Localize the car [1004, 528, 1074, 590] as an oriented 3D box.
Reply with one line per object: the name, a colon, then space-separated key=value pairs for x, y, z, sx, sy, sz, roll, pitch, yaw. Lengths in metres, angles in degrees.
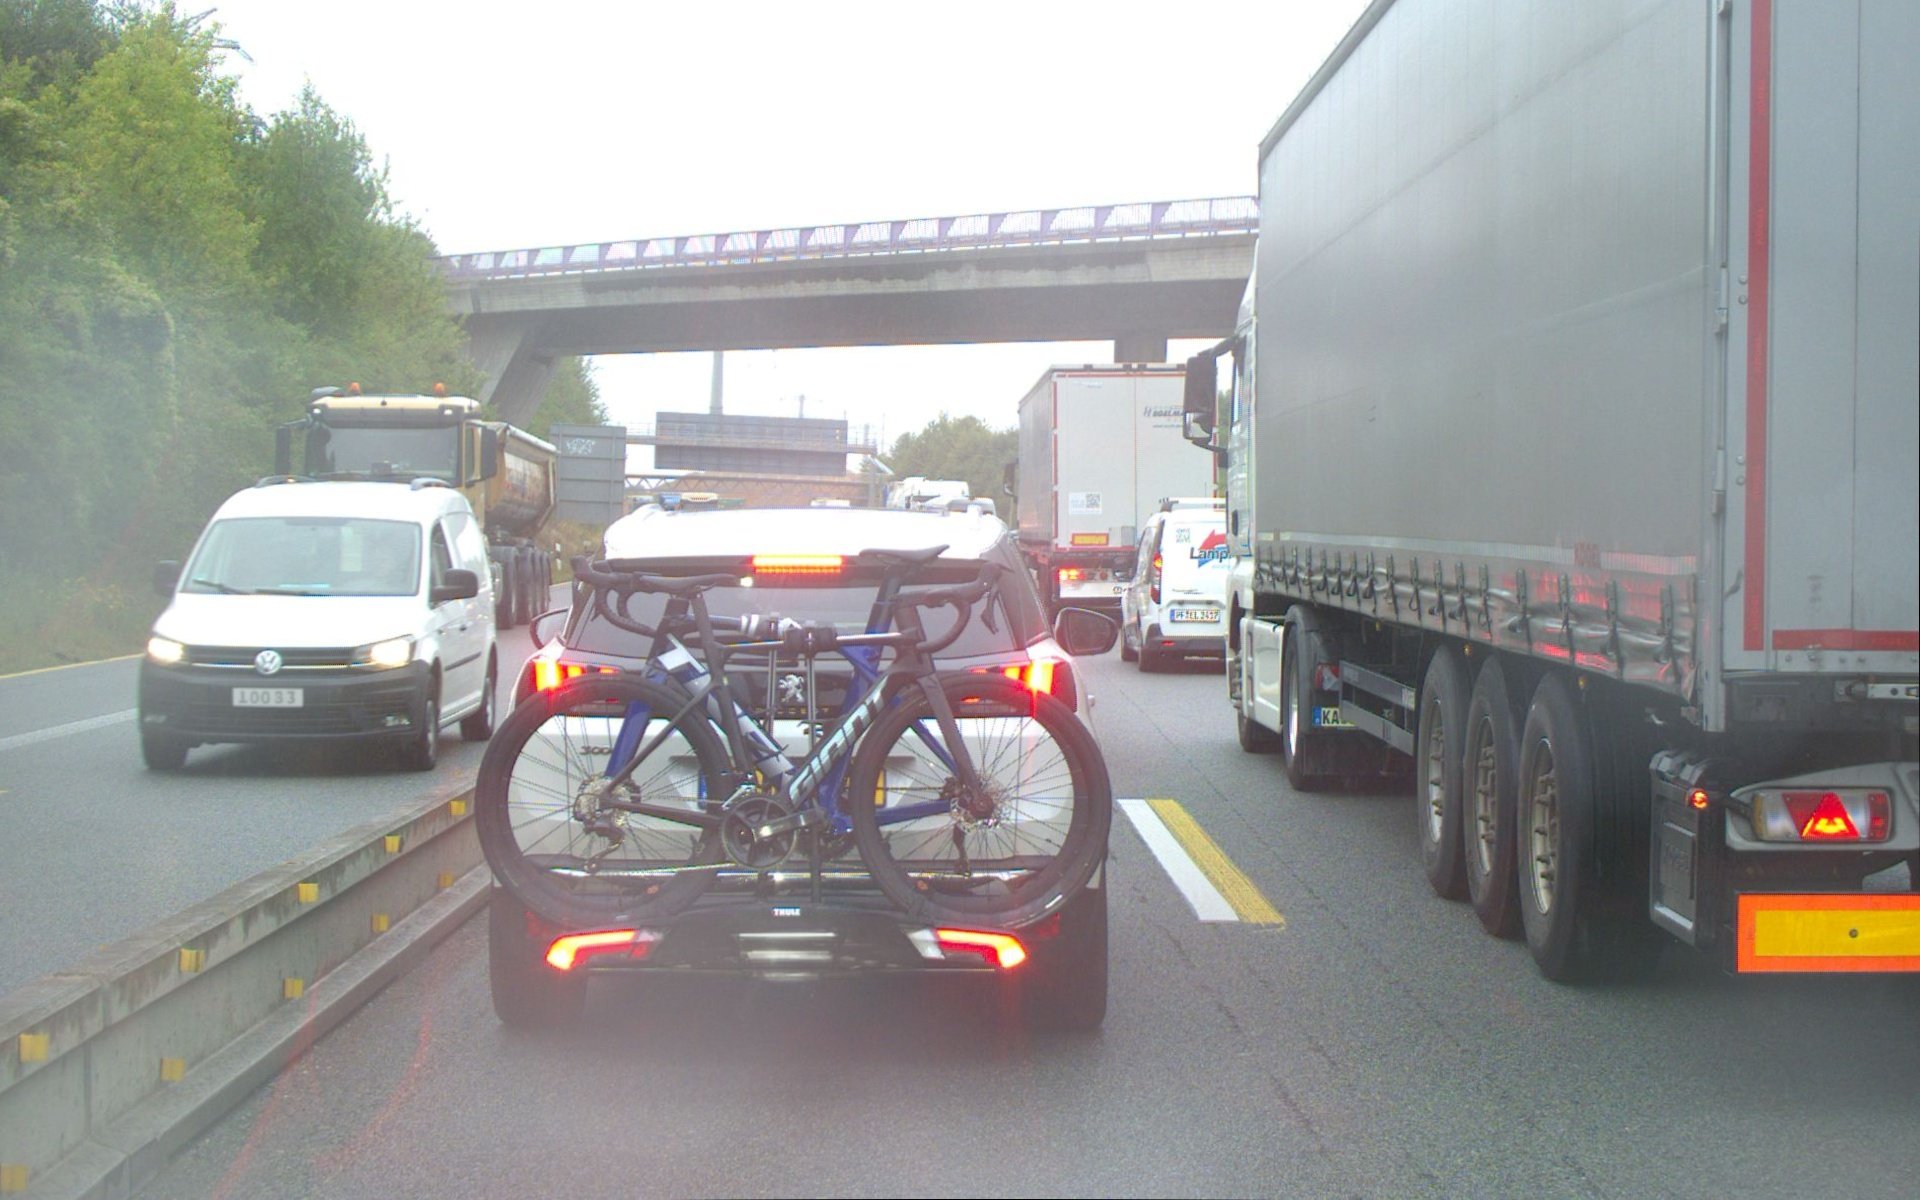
car: x=1.942 y=-1.025 z=85.059 sx=1.638 sy=1.492 sz=3.666 roll=1 pitch=1 yaw=0

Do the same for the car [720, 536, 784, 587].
car: x=-6.546 y=-1.211 z=108.376 sx=1.810 sy=1.554 sz=3.990 roll=1 pitch=1 yaw=-1

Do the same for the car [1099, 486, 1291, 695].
car: x=2.549 y=-0.131 z=38.175 sx=1.670 sy=2.173 sz=4.535 roll=1 pitch=1 yaw=-2

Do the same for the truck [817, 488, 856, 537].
truck: x=-8.792 y=-6.224 z=245.507 sx=2.535 sy=3.341 sz=12.051 roll=1 pitch=1 yaw=-1

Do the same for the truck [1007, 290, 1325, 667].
truck: x=3.321 y=-1.985 z=62.325 sx=4.743 sy=5.654 sz=20.376 roll=1 pitch=1 yaw=1

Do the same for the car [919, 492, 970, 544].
car: x=-0.598 y=-3.244 z=136.783 sx=1.993 sy=2.007 sz=4.000 roll=1 pitch=1 yaw=0

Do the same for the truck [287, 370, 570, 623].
truck: x=-7.745 y=-1.461 z=51.718 sx=2.535 sy=3.341 sz=12.051 roll=1 pitch=1 yaw=-1

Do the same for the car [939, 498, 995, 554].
car: x=0.248 y=-2.689 z=125.274 sx=1.993 sy=2.007 sz=4.000 roll=1 pitch=1 yaw=0

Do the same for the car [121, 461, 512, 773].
car: x=-4.086 y=0.069 z=22.550 sx=1.810 sy=1.817 sz=4.636 roll=1 pitch=1 yaw=-2

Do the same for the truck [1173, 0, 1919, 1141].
truck: x=3.729 y=-1.748 z=17.800 sx=3.979 sy=5.654 sz=20.376 roll=1 pitch=1 yaw=0

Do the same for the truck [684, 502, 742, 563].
truck: x=-15.263 y=-4.131 z=213.116 sx=2.681 sy=3.644 sz=12.312 roll=1 pitch=1 yaw=0

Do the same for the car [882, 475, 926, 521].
car: x=-2.647 y=-4.850 z=164.526 sx=1.993 sy=2.119 sz=4.527 roll=1 pitch=1 yaw=0

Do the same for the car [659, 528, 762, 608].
car: x=-4.533 y=-0.595 z=62.863 sx=1.686 sy=1.404 sz=3.930 roll=1 pitch=1 yaw=-2

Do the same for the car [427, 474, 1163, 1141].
car: x=-0.367 y=0.480 z=10.836 sx=1.810 sy=1.632 sz=4.635 roll=1 pitch=1 yaw=1

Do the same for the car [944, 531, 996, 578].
car: x=0.316 y=-1.494 z=111.889 sx=1.638 sy=1.492 sz=3.666 roll=1 pitch=1 yaw=0

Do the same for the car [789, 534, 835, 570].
car: x=-6.255 y=-2.015 z=145.714 sx=1.810 sy=1.483 sz=4.397 roll=1 pitch=1 yaw=-1

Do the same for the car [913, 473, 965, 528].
car: x=-0.895 y=-4.325 z=149.439 sx=2.239 sy=2.299 sz=4.572 roll=1 pitch=1 yaw=0

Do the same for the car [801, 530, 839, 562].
car: x=-6.321 y=-2.429 z=155.584 sx=1.686 sy=1.404 sz=3.930 roll=1 pitch=1 yaw=-2
